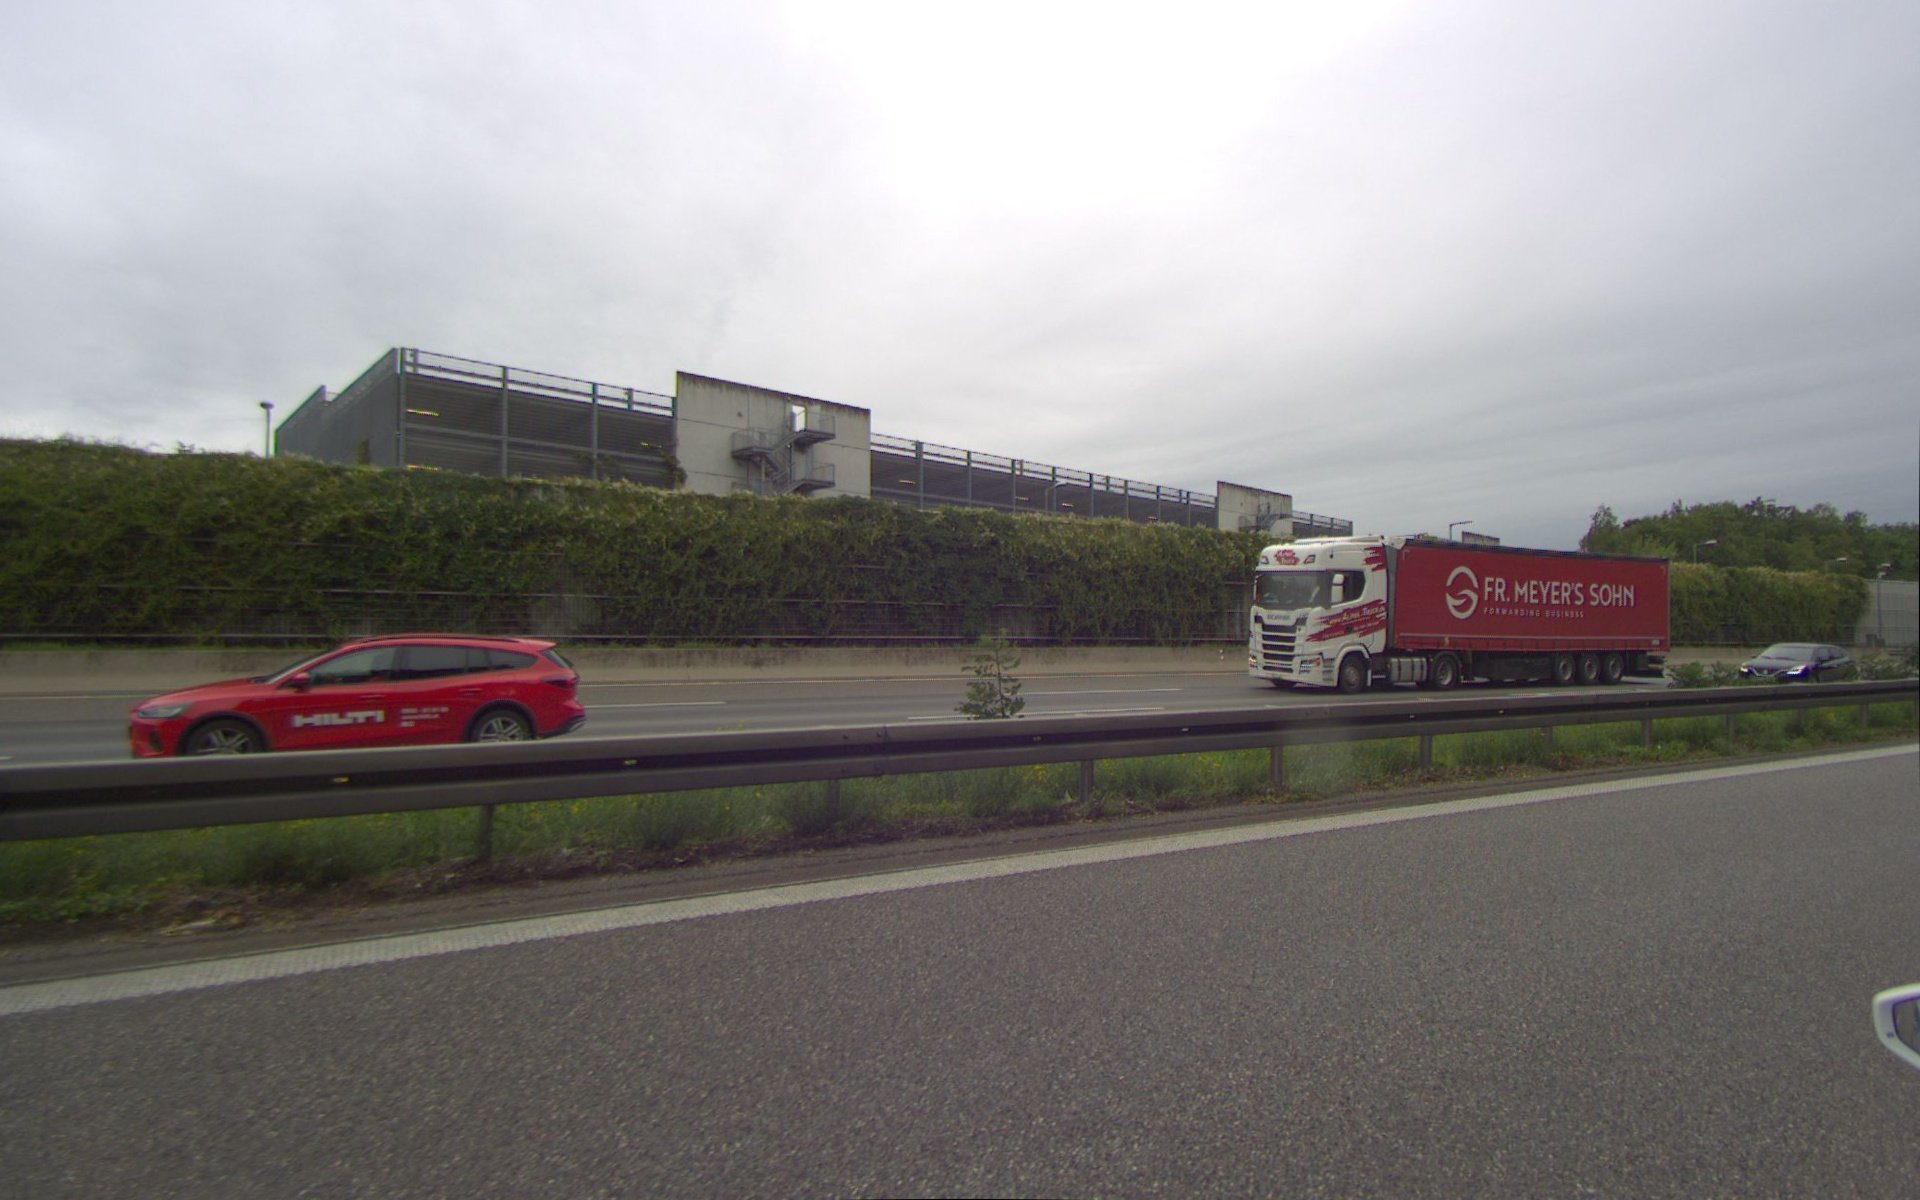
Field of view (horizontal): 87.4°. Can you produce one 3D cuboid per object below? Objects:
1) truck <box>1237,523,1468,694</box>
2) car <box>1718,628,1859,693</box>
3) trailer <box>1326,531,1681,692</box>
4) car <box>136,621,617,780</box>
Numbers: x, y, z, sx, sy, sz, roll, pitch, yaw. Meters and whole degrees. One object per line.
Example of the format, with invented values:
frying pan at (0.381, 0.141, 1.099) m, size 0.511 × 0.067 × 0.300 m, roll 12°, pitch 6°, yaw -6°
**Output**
truck at (10.645, 0.283, 27.161) m, size 5.841 × 4.182 × 2.658 m, roll 1°, pitch -1°, yaw -27°
car at (24.642, 1.748, 29.857) m, size 3.953 × 1.762 × 1.984 m, roll 1°, pitch 0°, yaw -30°
trailer at (16.960, 0.450, 30.651) m, size 13.521 × 4.182 × 2.733 m, roll 1°, pitch -1°, yaw -29°
car at (-6.746, 1.109, 12.122) m, size 4.664 × 1.590 × 1.763 m, roll 2°, pitch -1°, yaw -31°
